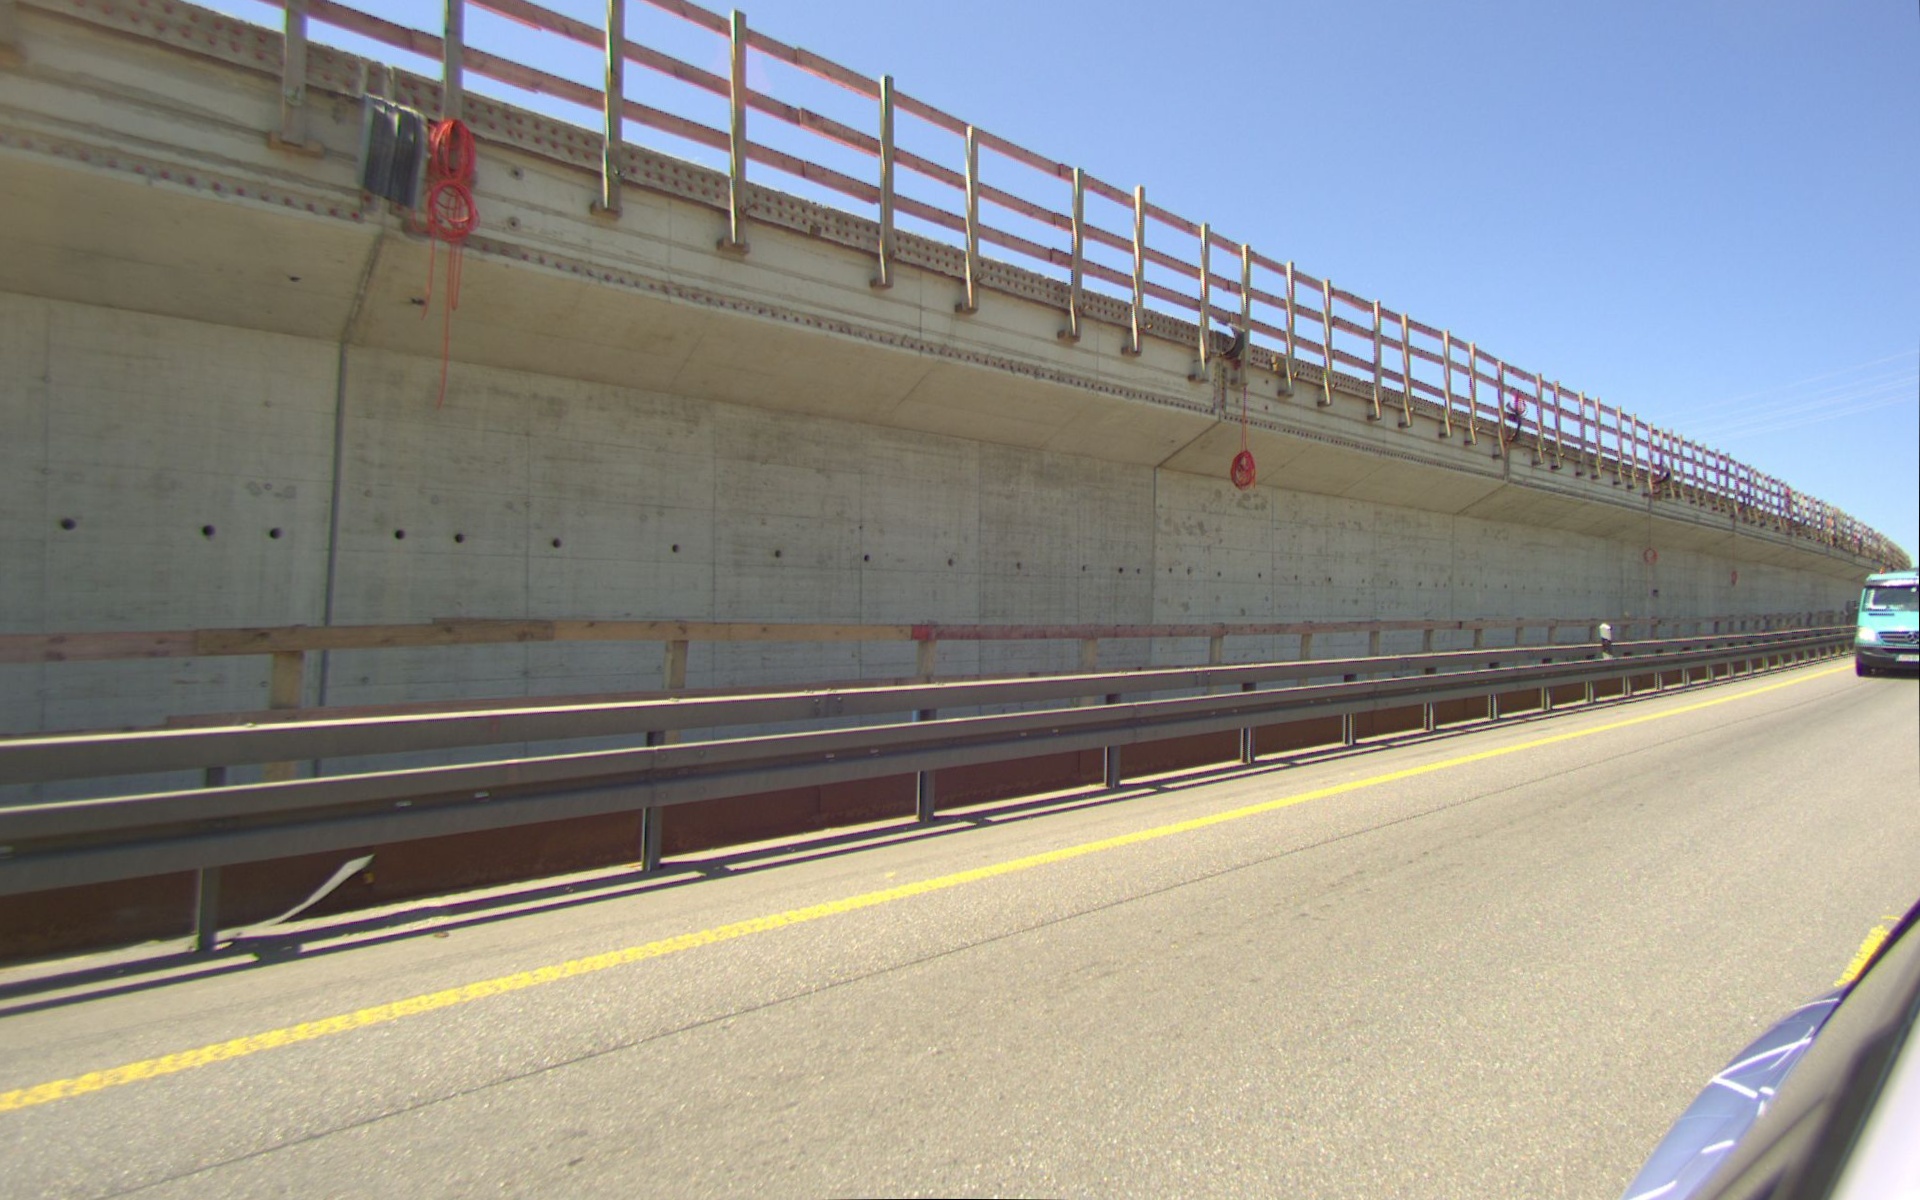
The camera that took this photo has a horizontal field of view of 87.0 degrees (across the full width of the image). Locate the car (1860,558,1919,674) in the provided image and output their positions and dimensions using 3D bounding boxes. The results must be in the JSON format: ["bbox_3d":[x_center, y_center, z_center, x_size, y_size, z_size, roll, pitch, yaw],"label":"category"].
[{"bbox_3d":[22.565,0.303,23.254,7.086,2.412,1.965,0,-2,-42],"label":"car"}]
